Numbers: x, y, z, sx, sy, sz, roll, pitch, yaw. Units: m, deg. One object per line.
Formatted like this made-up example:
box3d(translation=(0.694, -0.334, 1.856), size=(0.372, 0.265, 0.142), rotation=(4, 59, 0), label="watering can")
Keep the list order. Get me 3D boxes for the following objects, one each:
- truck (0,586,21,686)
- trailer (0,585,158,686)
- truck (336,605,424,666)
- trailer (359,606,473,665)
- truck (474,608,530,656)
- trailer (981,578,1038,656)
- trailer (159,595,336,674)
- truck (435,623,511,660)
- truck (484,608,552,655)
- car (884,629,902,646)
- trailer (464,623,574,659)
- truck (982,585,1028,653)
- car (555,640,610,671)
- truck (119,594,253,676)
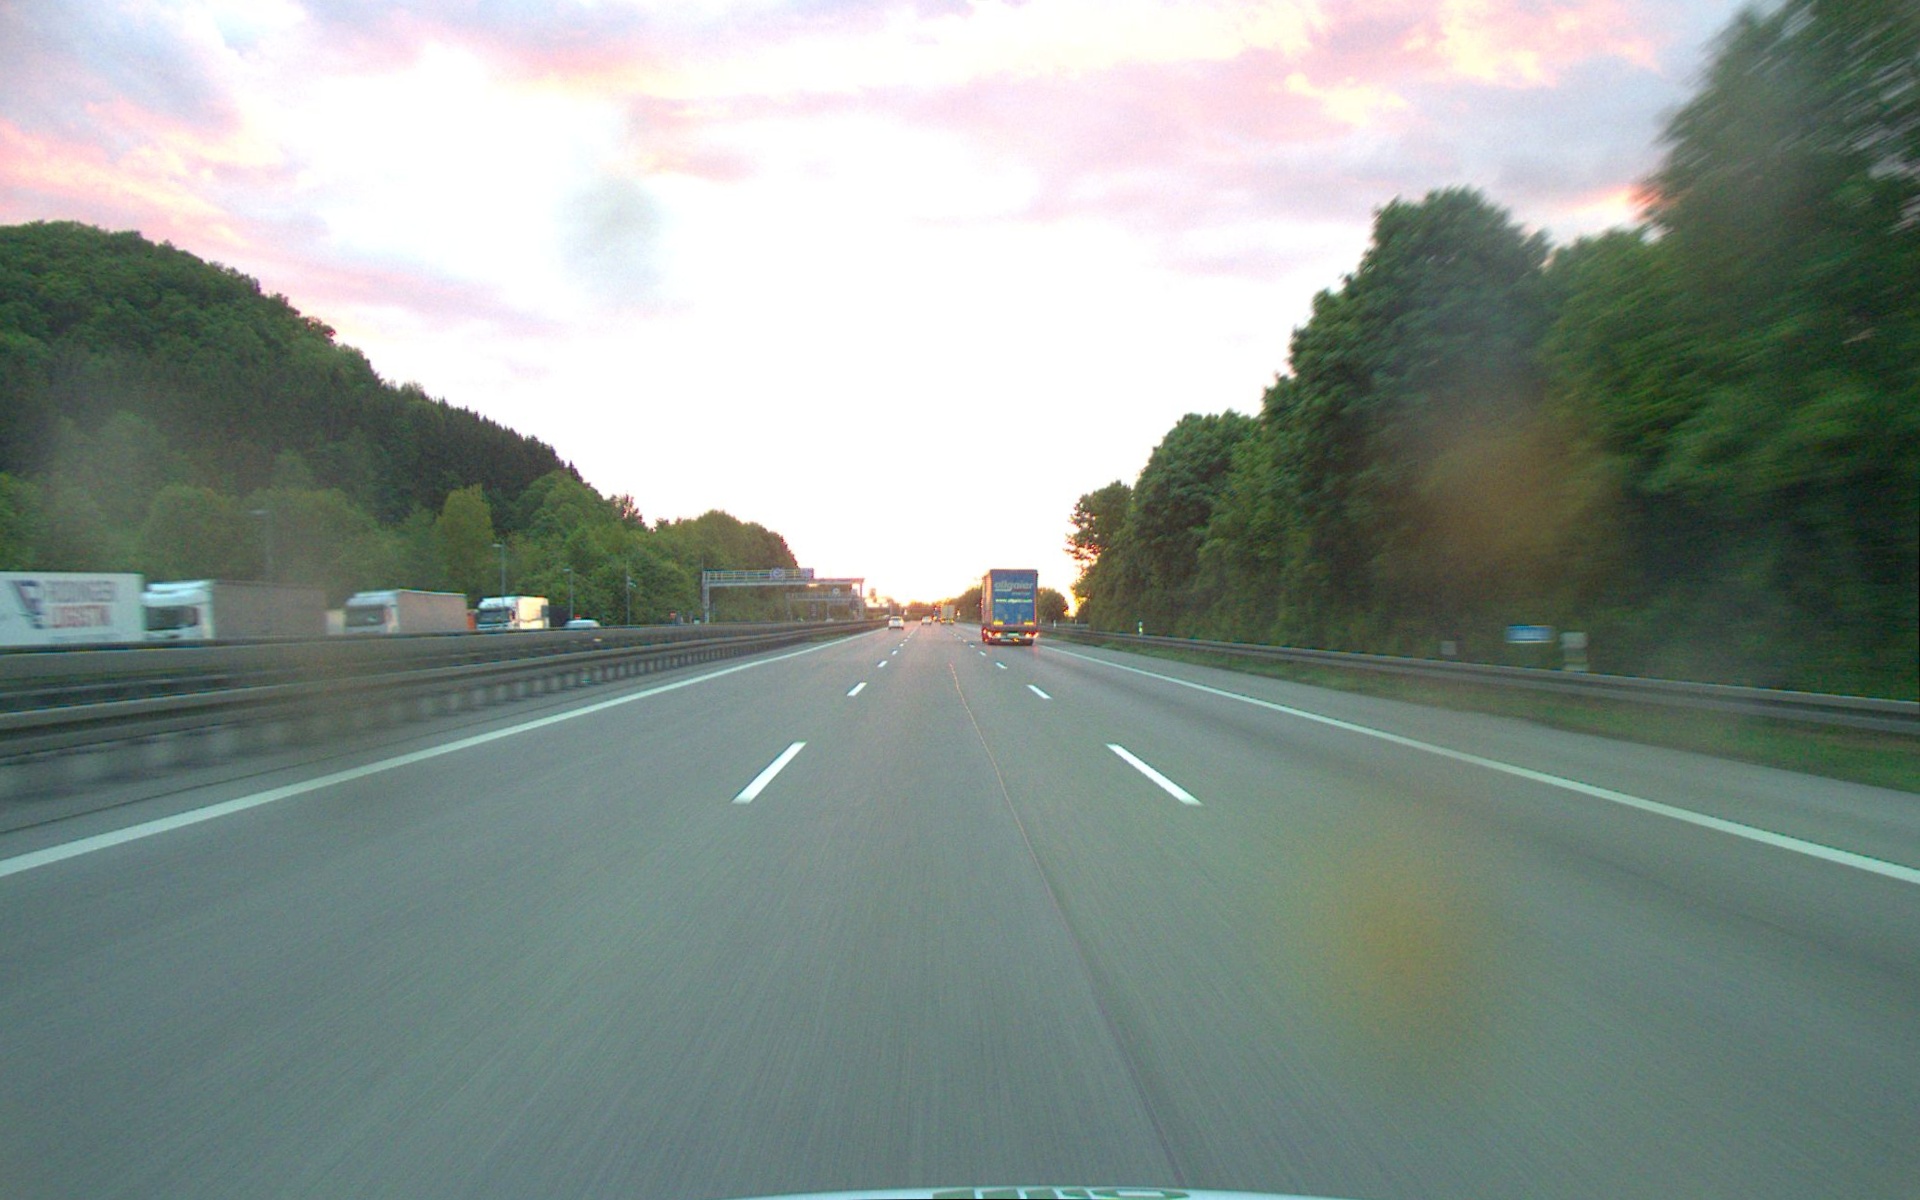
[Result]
box3d(translation=(-34.498, 1.186, 54.592), size=(2.814, 3.435, 7.173), rotation=(0, -1, 0), label="truck")
box3d(translation=(-34.471, 1.274, 61.432), size=(2.814, 3.485, 13.222), rotation=(0, -1, 0), label="trailer")
box3d(translation=(-34.623, 2.120, 98.983), size=(2.814, 3.485, 6.725), rotation=(0, -1, 0), label="truck")
box3d(translation=(-34.653, 2.246, 106.040), size=(2.815, 3.485, 13.847), rotation=(0, -1, 0), label="trailer")
box3d(translation=(-34.066, 2.371, 123.254), size=(2.817, 3.485, 6.718), rotation=(1, -1, -5), label="truck")
box3d(translation=(2.756, 1.075, 95.376), size=(2.715, 4.158, 13.735), rotation=(1, -1, 0), label="trailer")
box3d(translation=(-34.531, 1.660, 80.979), size=(2.814, 3.485, 13.567), rotation=(0, -1, 0), label="trailer")
box3d(translation=(-50.370, 4.285, 171.202), size=(2.947, 3.743, 7.665), rotation=(0, -1, 29), label="truck")
box3d(translation=(-34.694, 2.497, 130.341), size=(2.817, 3.485, 13.772), rotation=(1, -1, -5), label="truck")
box3d(translation=(-7.677, 4.331, 189.581), size=(1.973, 1.780, 3.901), rotation=(-3, -1, -2), label="car")
box3d(translation=(-47.081, 4.386, 177.212), size=(3.003, 3.743, 13.320), rotation=(0, -1, 29), label="trailer")
box3d(translation=(2.745, 1.225, 102.248), size=(2.680, 4.067, 5.848), rotation=(1, -2, 0), label="truck")
box3d(translation=(-21.064, 3.098, 92.498), size=(1.953, 1.621, 4.739), rotation=(0, -1, 0), label="car")
box3d(translation=(-34.505, 1.549, 74.032), size=(2.814, 3.485, 6.725), rotation=(0, -1, 0), label="truck")
